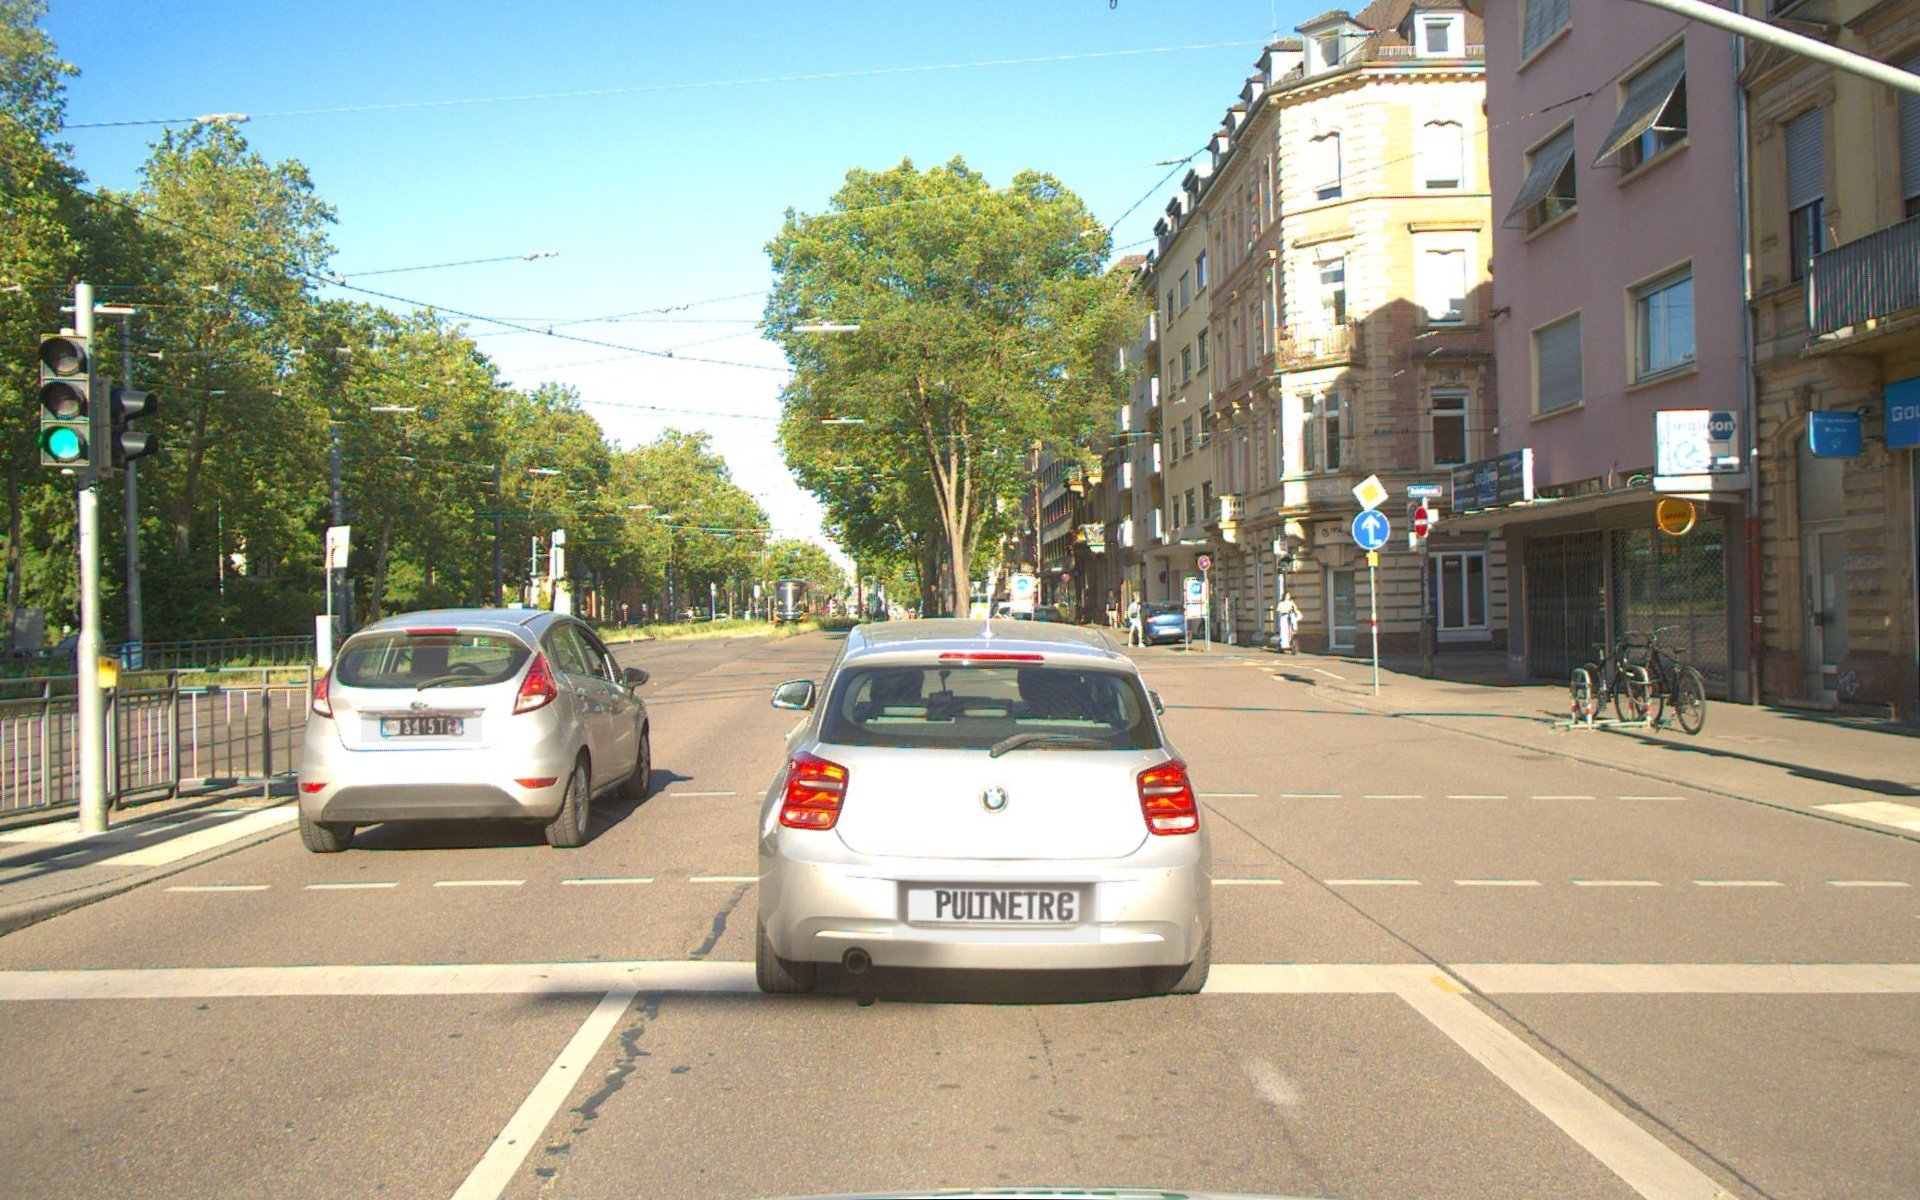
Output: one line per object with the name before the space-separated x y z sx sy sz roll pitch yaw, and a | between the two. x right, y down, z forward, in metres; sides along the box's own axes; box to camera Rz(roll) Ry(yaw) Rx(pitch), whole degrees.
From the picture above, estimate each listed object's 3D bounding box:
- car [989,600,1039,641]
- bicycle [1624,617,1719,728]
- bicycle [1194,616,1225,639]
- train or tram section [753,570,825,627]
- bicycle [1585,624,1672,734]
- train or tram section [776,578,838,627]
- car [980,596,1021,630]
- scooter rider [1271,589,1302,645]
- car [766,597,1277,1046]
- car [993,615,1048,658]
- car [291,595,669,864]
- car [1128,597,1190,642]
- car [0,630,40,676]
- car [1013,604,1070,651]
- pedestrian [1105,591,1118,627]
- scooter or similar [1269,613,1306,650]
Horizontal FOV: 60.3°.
car | 2.078 0.777 64.686 1.690 1.533 3.553 0 0 -2
bicycle | 8.083 0.799 18.845 0.439 1.179 1.759 -1 0 5
bicycle | 9.026 0.993 59.805 0.739 0.784 1.944 -1 0 -2
train or tram section | -12.748 -0.072 125.245 3.888 3.933 17.484 -1 0 -1
bicycle | 7.594 0.868 18.839 0.405 1.161 1.810 0 0 5
train or tram section | -13.031 0.197 142.717 3.924 3.933 17.484 -1 0 -1
car | 1.897 0.587 77.463 1.690 1.533 3.553 0 0 -2
scooter rider | 8.999 0.458 45.601 0.459 1.531 0.805 -1 0 -22
car | 0.172 0.750 7.550 1.705 1.493 3.999 1 0 -1
car | 2.123 1.269 59.057 1.709 1.458 3.553 0 0 -2
car | -3.064 0.736 11.346 1.577 1.493 3.888 -1 0 -2
car | 7.126 0.681 59.541 1.700 1.546 3.635 0 0 -2
car | -29.498 1.593 49.055 1.897 1.372 4.846 -1 -1 -2
car | 2.611 0.871 53.505 1.700 1.458 3.678 0 0 1
pedestrian | 7.734 0.462 84.494 0.495 1.833 0.805 -1 0 -2
scooter or similar | 9.016 0.864 45.602 0.333 1.005 1.275 -1 0 -22
